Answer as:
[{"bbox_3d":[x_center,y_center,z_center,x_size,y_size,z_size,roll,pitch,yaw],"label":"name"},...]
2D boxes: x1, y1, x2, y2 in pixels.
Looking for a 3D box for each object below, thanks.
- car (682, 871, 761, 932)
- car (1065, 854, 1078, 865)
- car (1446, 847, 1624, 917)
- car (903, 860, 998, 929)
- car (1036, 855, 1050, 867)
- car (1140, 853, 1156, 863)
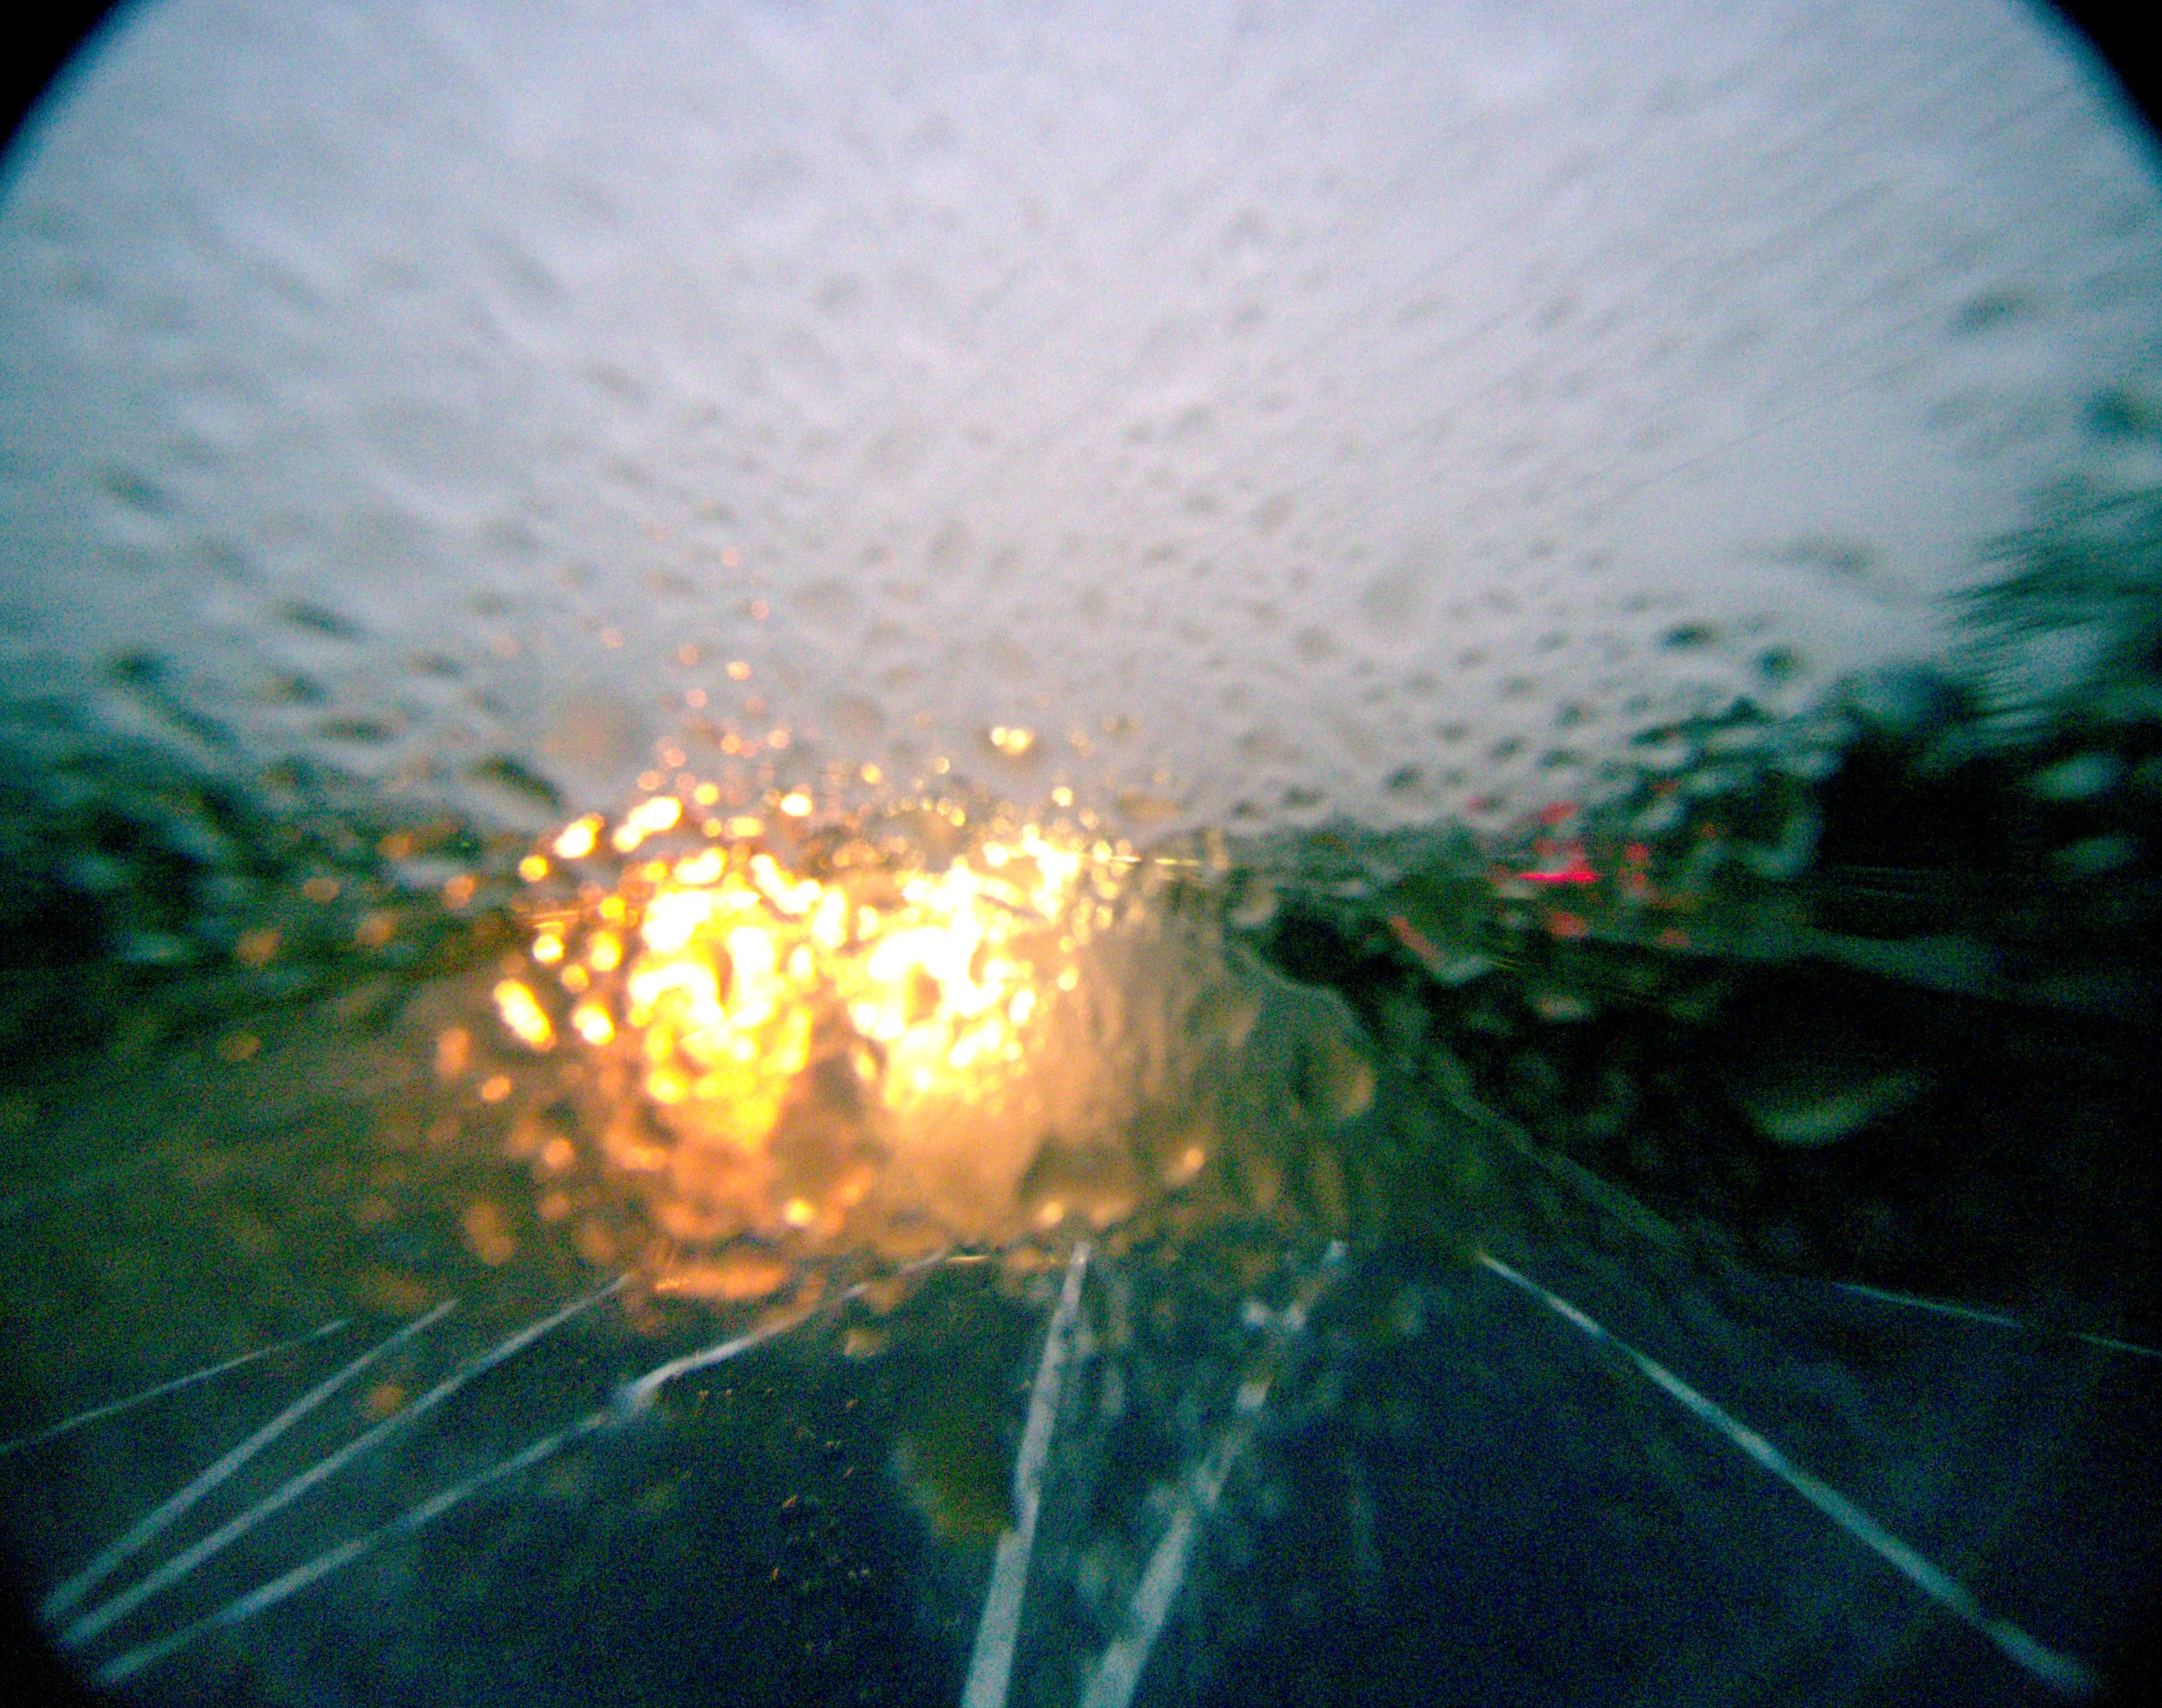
[{"bbox_3d":[-9.993,1.254,21.364,1.795,1.426,3.813,-2,0,-23],"label":"car"},{"bbox_3d":[-1.407,0.773,109.485,1.632,1.466,3.999,-1,0,-3],"label":"car"},{"bbox_3d":[11.580,0.623,19.845,1.801,1.562,4.753,-2,0,0],"label":"car"},{"bbox_3d":[-3.212,0.947,19.447,1.682,1.500,3.808,-1,0,1],"label":"car"},{"bbox_3d":[-4.924,0.936,98.320,1.802,1.494,3.999,-1,0,-3],"label":"car"},{"bbox_3d":[10.267,0.591,116.962,1.931,1.430,4.549,-1,0,-1],"label":"car"}]
